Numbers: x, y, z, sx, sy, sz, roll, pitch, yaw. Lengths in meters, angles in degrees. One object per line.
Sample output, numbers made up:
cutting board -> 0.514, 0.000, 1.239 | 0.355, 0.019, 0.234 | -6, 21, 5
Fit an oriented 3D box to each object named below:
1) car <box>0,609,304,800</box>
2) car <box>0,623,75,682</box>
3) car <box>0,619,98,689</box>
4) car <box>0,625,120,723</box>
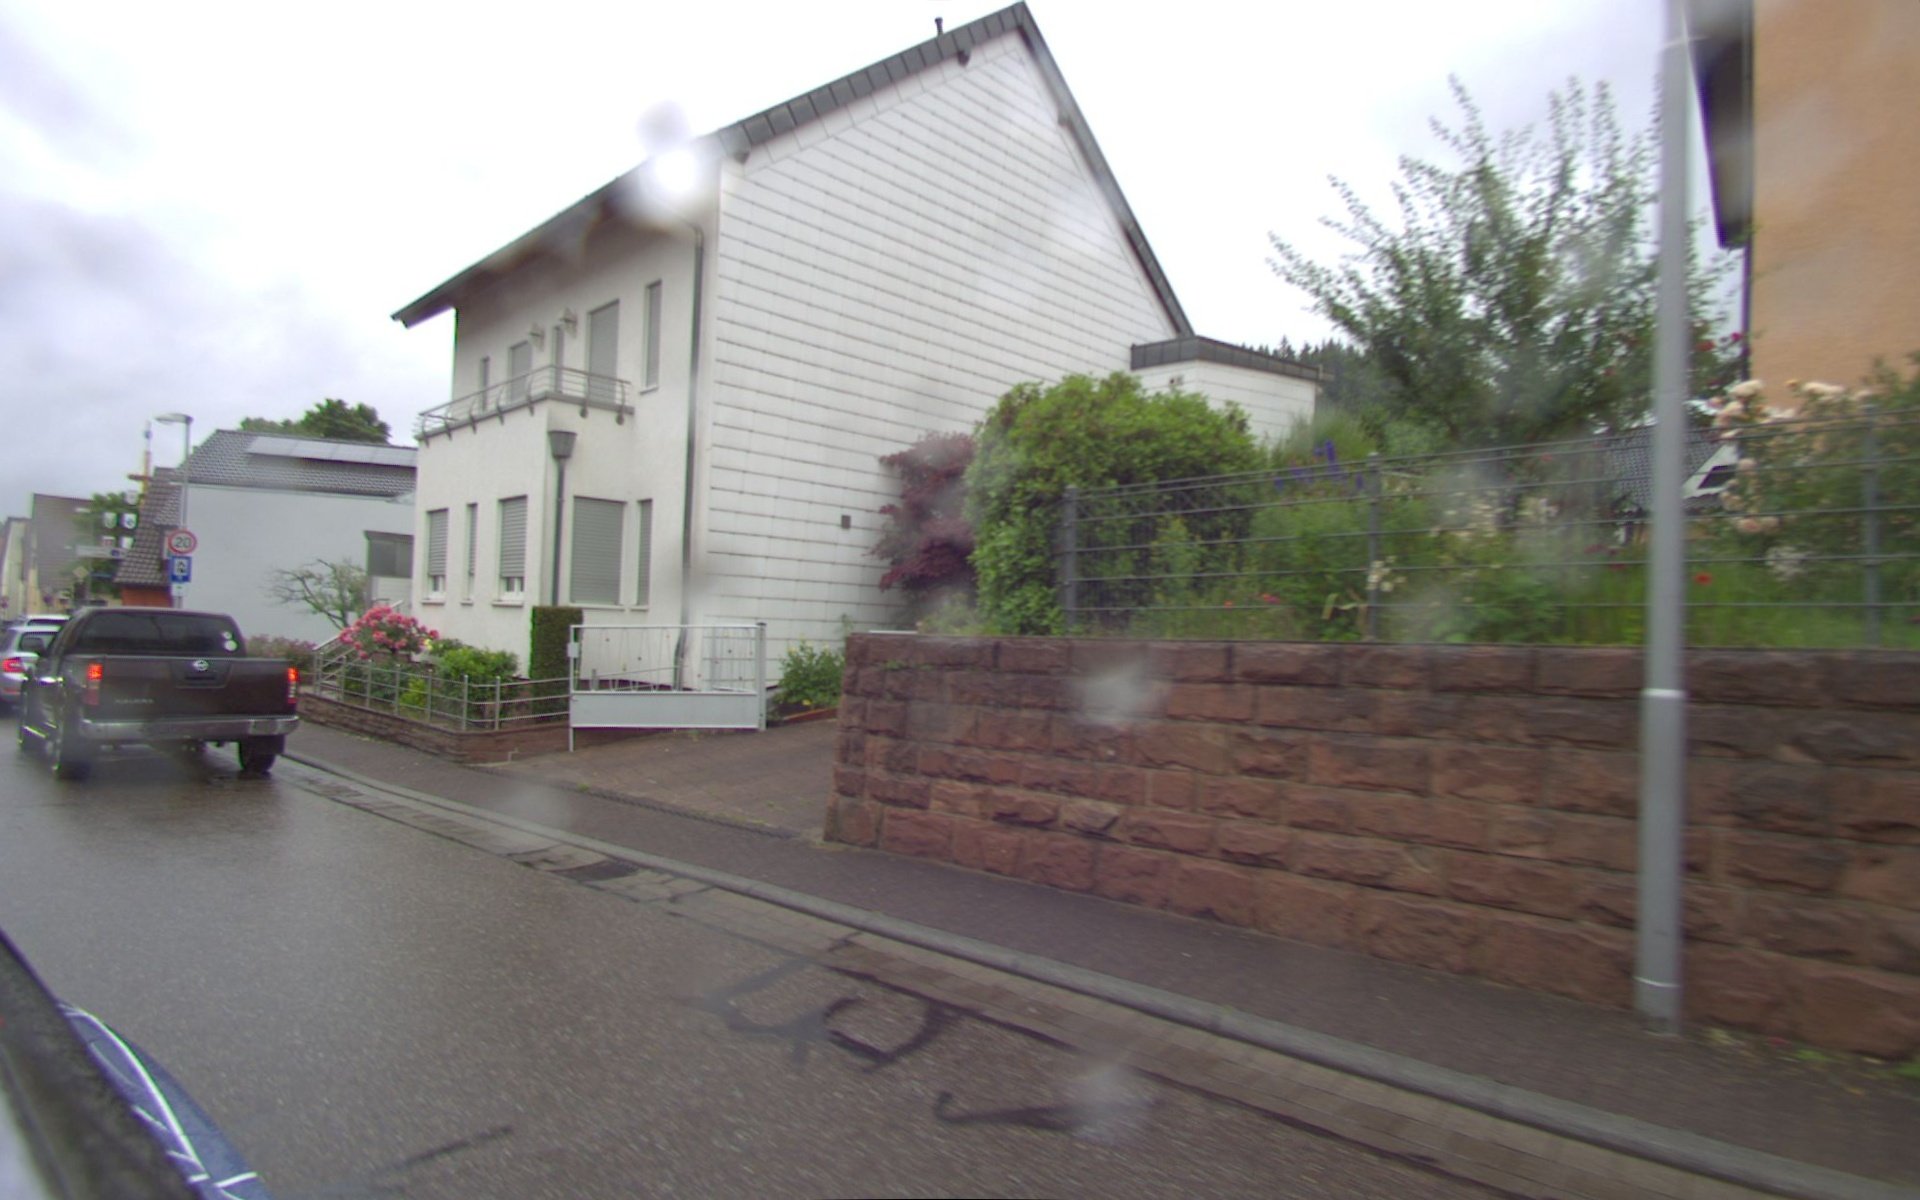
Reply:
car -> -9.258, 0.992, 11.352 | 5.195, 1.686, 1.815 | -1, -4, 42
car -> -28.007, 1.549, 30.529 | 1.652, 1.628, 4.187 | 4, -4, -44
car -> -24.043, 1.385, 26.643 | 1.790, 1.697, 4.188 | 4, -4, -43
car -> -15.766, 1.241, 17.284 | 3.714, 1.493, 1.562 | -2, -6, 41
